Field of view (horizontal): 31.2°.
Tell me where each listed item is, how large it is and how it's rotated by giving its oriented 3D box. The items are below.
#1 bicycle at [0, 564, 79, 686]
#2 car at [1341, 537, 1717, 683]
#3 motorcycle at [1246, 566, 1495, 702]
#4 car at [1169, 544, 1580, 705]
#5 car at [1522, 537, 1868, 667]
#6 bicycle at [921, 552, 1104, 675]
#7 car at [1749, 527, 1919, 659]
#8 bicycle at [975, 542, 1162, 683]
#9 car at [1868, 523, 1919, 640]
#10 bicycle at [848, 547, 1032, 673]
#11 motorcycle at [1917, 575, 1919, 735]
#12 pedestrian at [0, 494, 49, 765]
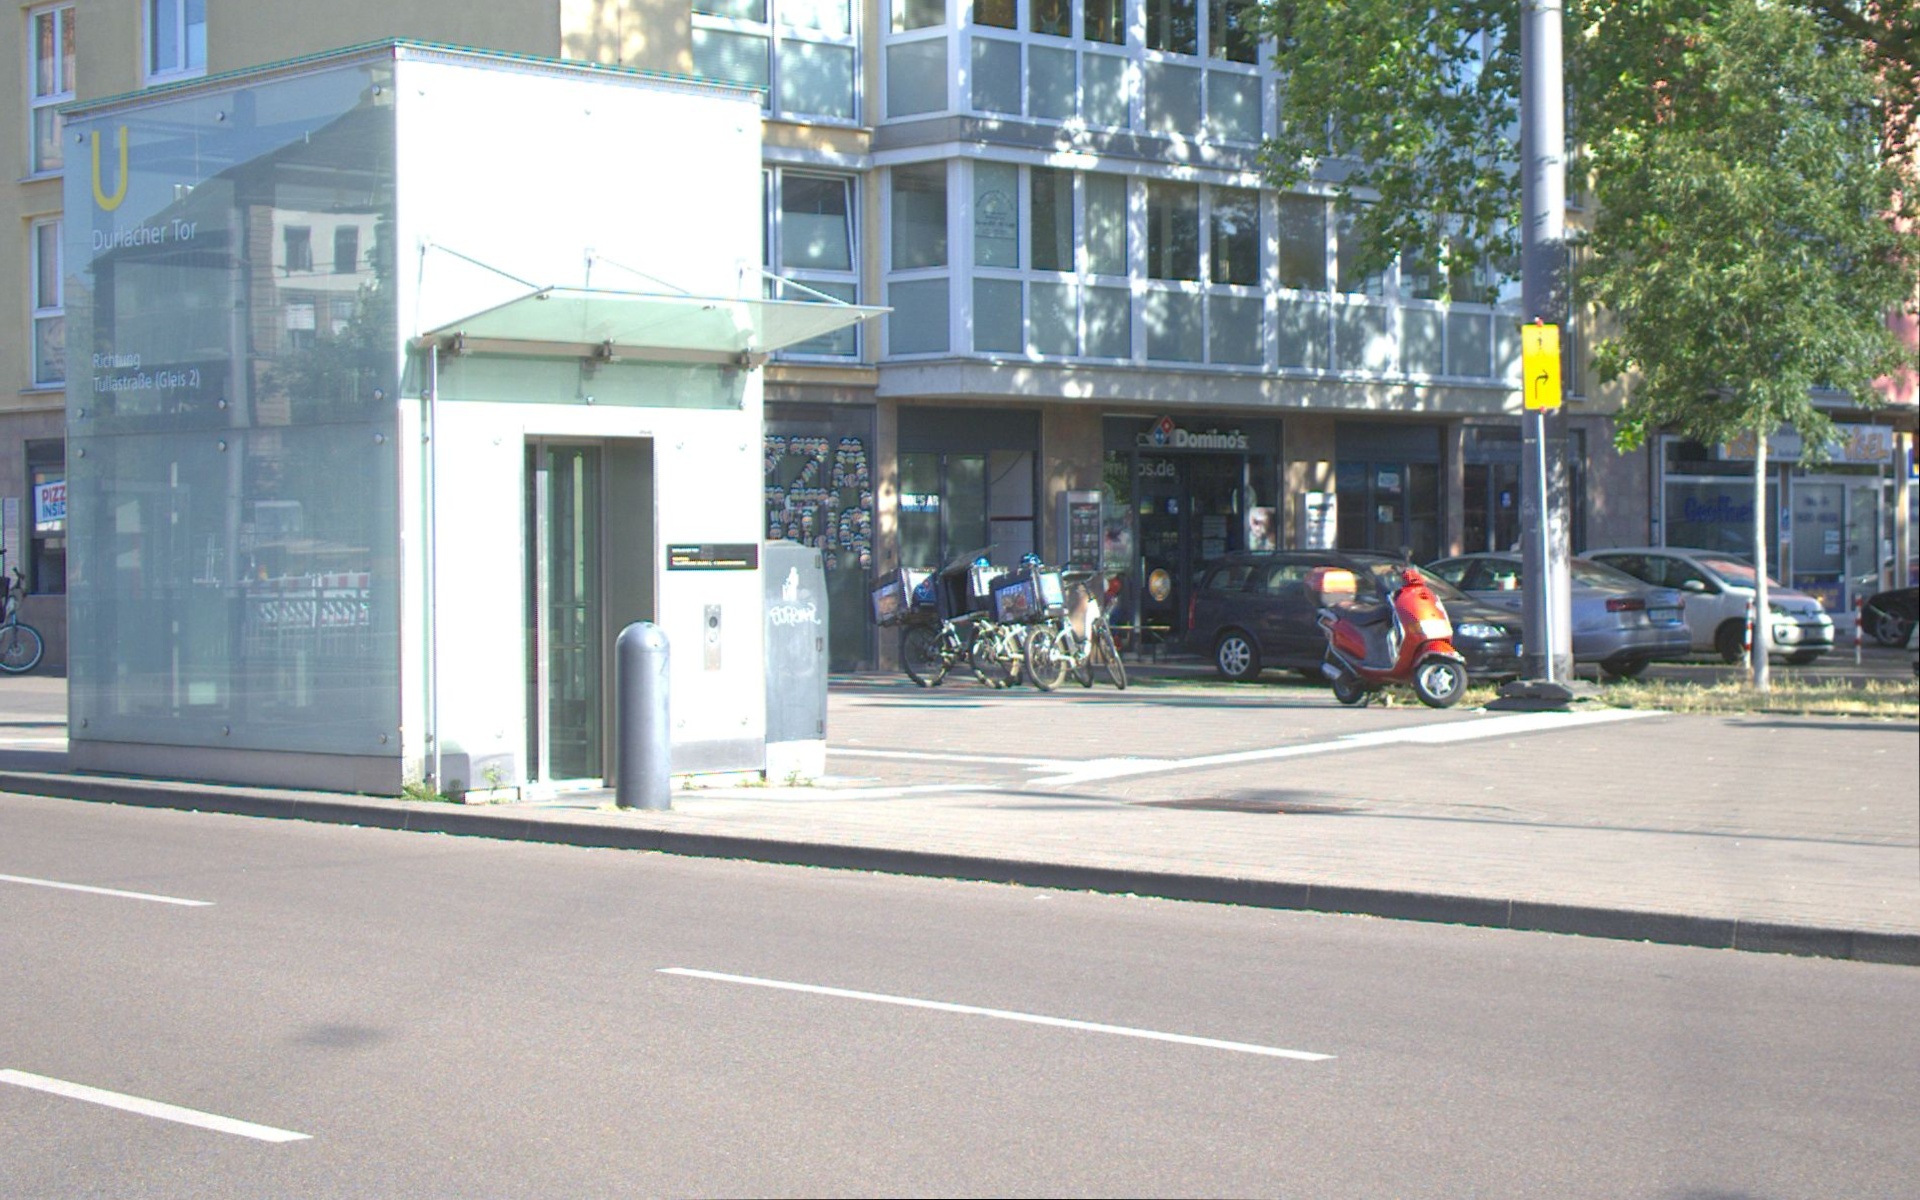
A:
[{"bbox_3d":[-11.825,0.291,42.482,0.930,1.352,2.228,-2,4,-41],"label":"bicycle"},{"bbox_3d":[6.594,0.074,40.114,1.851,1.415,3.998,-3,5,-44],"label":"car"},{"bbox_3d":[3.314,0.277,27.827,1.802,1.043,0.879,-1,1,43],"label":"motorcycle"},{"bbox_3d":[4.552,0.222,38.131,4.225,1.477,1.852,4,5,43],"label":"car"},{"bbox_3d":[9.475,-0.010,44.514,1.851,1.415,3.998,-3,5,-44],"label":"car"},{"bbox_3d":[0.562,0.124,35.887,0.815,1.196,1.994,0,2,40],"label":"bicycle"},{"bbox_3d":[13.016,-0.092,46.882,1.851,1.629,3.998,-3,5,-44],"label":"car"},{"bbox_3d":[1.115,0.116,34.949,0.815,1.341,1.994,0,2,40],"label":"bicycle"},{"bbox_3d":[15.282,-0.207,49.223,1.851,1.629,3.998,-3,5,-44],"label":"car"},{"bbox_3d":[-0.198,0.093,36.437,0.815,1.244,1.994,0,2,40],"label":"bicycle"},{"bbox_3d":[7.639,0.354,22.829,2.278,1.070,1.039,0,3,31],"label":"motorcycle"},{"bbox_3d":[-6.490,0.185,22.237,0.867,1.722,0.794,0,1,14],"label":"pedestrian"}]
